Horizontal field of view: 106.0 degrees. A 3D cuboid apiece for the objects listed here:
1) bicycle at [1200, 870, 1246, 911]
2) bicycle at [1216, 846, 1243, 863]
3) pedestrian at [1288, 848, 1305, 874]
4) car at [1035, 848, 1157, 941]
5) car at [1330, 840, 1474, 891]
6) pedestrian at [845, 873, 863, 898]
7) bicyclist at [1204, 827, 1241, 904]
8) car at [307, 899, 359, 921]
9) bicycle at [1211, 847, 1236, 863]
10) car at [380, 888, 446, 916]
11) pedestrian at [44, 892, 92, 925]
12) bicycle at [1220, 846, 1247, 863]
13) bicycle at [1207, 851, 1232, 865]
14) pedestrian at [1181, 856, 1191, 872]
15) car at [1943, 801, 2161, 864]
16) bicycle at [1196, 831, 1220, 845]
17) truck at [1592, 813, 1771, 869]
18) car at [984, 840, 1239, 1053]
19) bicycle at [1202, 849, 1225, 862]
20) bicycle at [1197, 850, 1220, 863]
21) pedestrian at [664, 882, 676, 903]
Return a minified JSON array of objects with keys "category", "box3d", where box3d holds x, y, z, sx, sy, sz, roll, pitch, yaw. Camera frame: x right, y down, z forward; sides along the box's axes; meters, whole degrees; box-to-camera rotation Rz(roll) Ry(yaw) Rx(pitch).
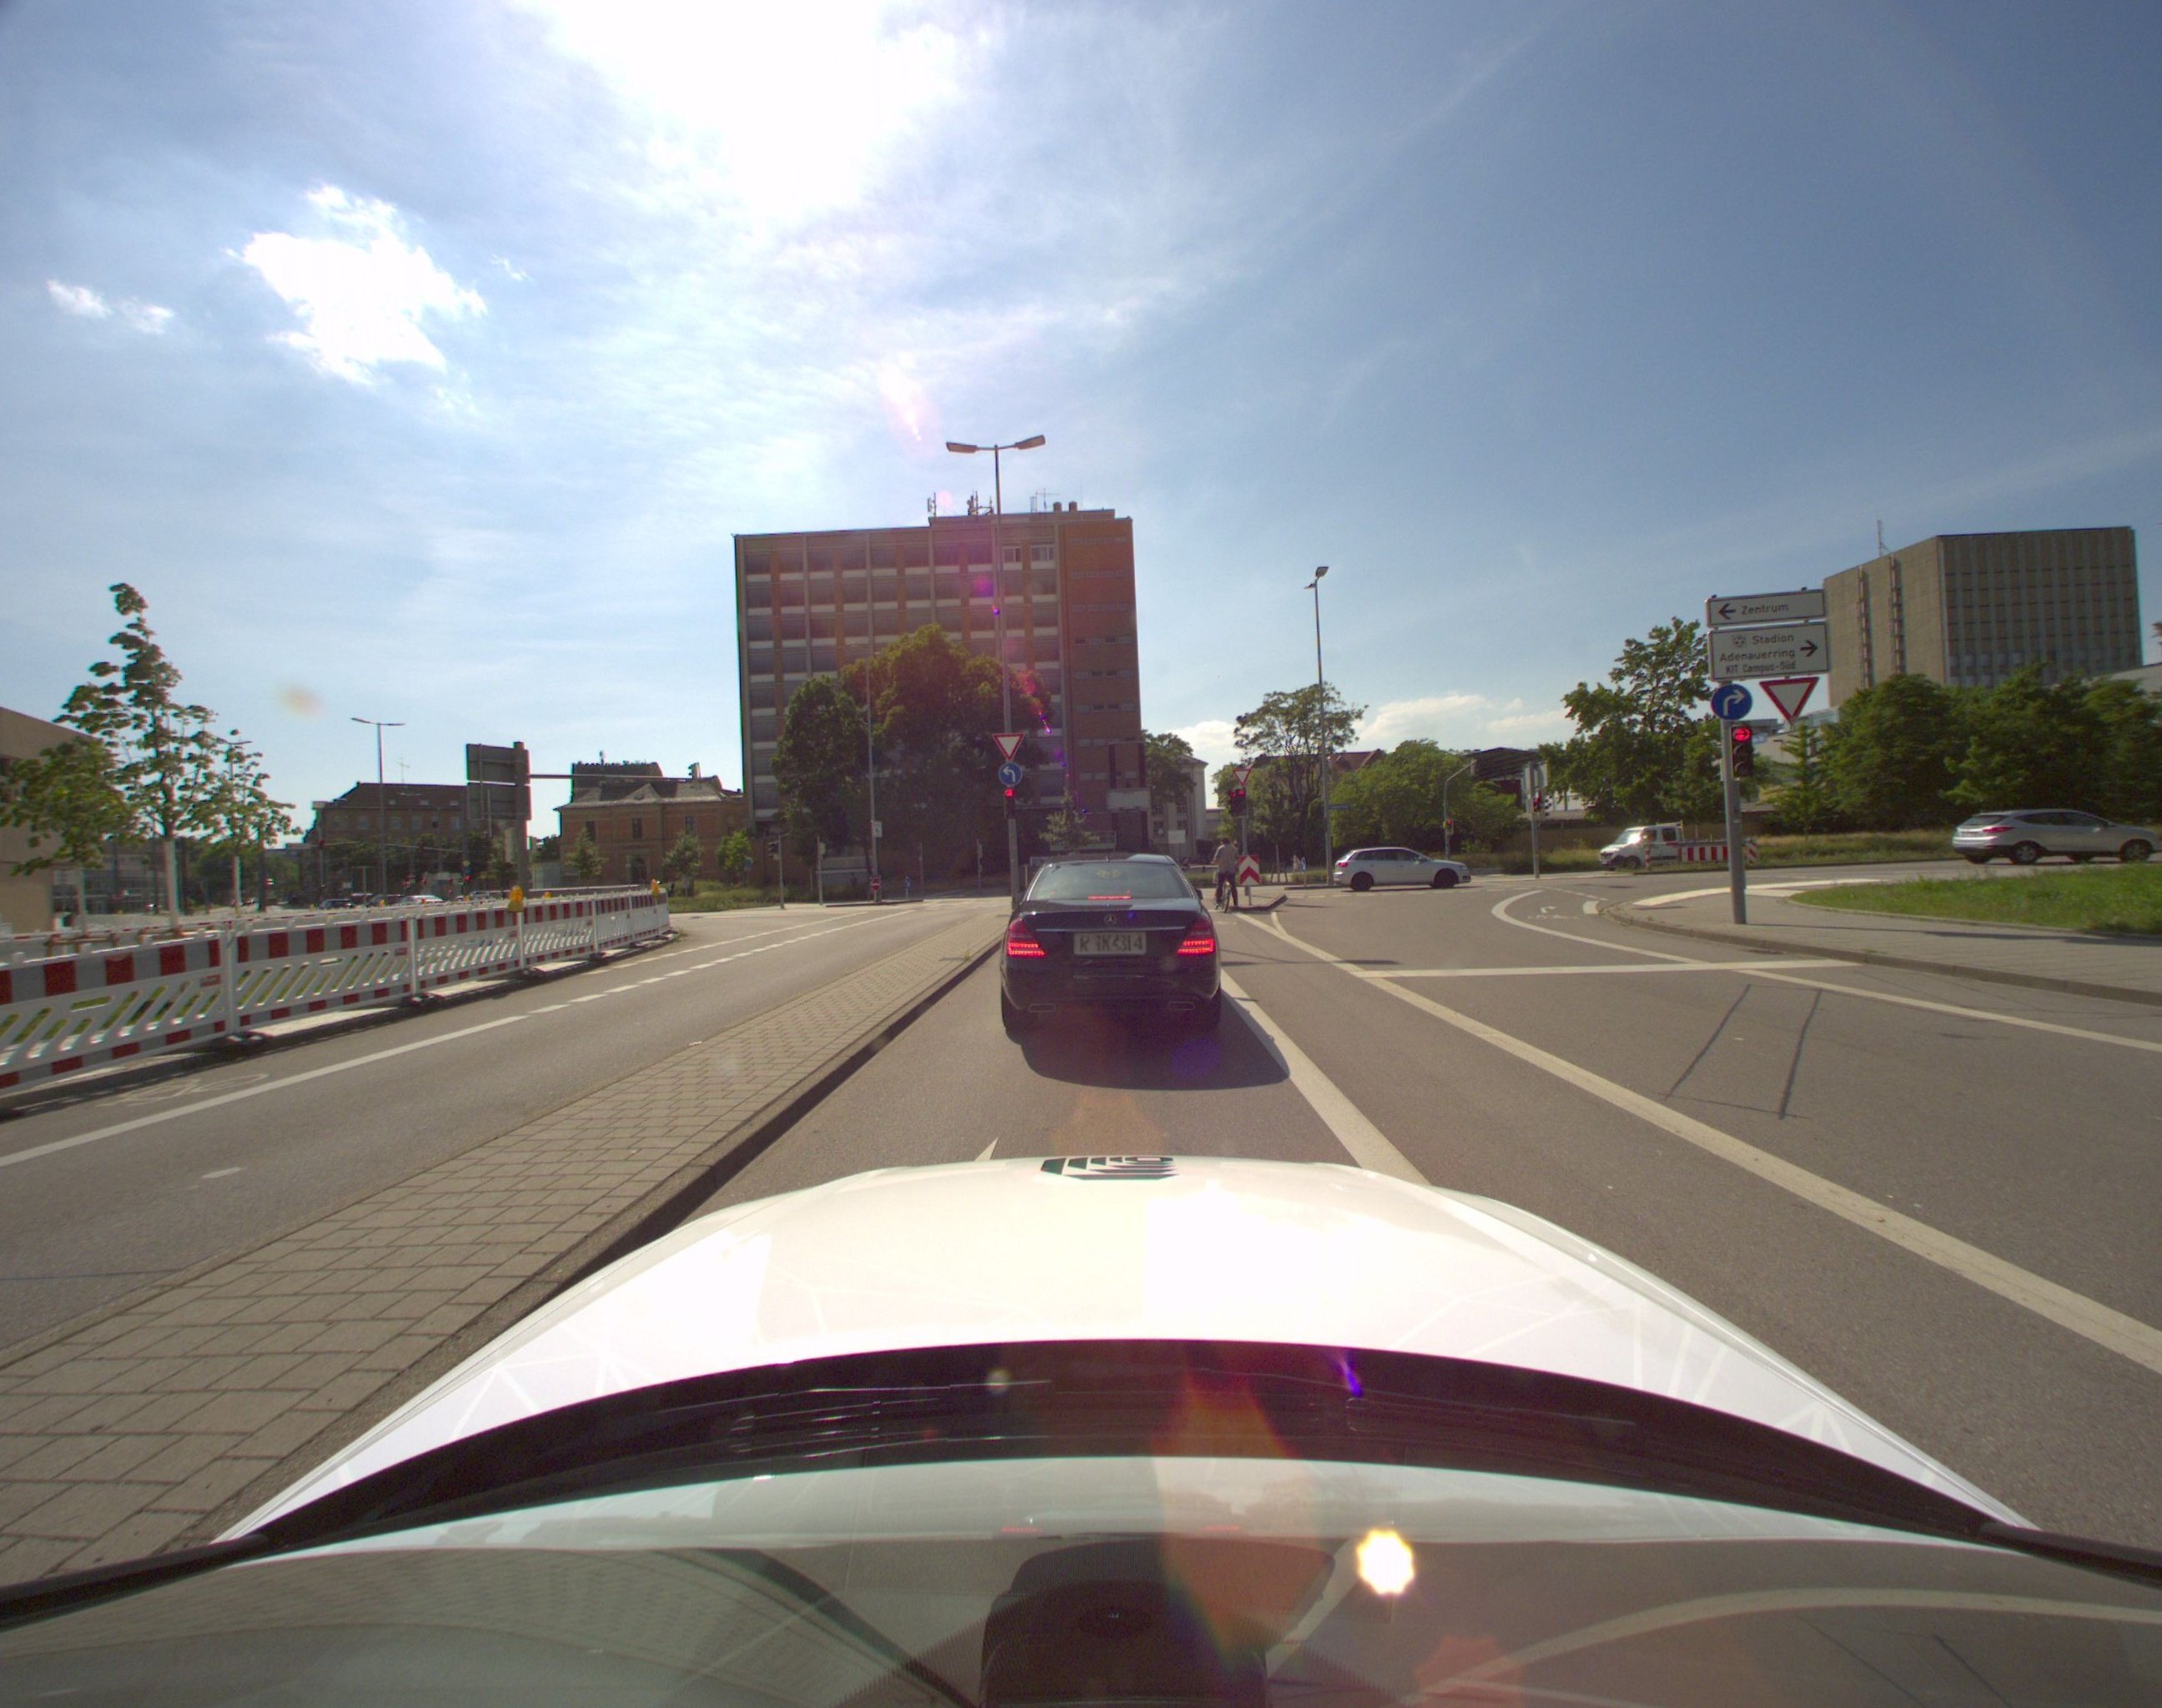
[{"category":"bicycle","box3d":[3.585,0.900,20.664,0.691,0.946,1.955,0,-1,-4]},{"category":"bicycle","box3d":[17.031,0.065,93.566,2.813,1.744,0.842,-3,0,1]},{"category":"pedestrian","box3d":[13.623,0.457,51.522,0.807,1.579,0.693,-3,-1,3]},{"category":"car","box3d":[0.313,0.675,15.304,1.986,1.508,4.001,0,-1,2]},{"category":"car","box3d":[10.434,0.373,26.715,4.131,1.420,1.590,-3,0,12]},{"category":"pedestrian","box3d":[-16.223,2.259,58.159,0.790,1.725,0.878,-3,-1,24]},{"category":"bicyclist","box3d":[3.576,0.289,20.640,0.684,1.878,0.858,-1,-1,-5]},{"category":"car","box3d":[-55.547,4.161,60.450,3.948,1.510,1.811,-3,-1,32]},{"category":"bicycle","box3d":[16.799,0.133,96.118,2.813,1.659,0.842,-3,1,1]},{"category":"car","box3d":[-48.016,3.438,58.538,3.951,1.816,2.011,-3,-1,24]},{"category":"pedestrian","box3d":[-64.747,3.464,52.066,1.508,2.014,1.662,-1,-1,29]},{"category":"bicycle","box3d":[17.098,0.047,91.303,2.813,1.836,0.842,-3,0,1]},{"category":"bicycle","box3d":[16.740,0.517,98.140,2.813,1.537,0.842,-3,0,1]},{"category":"pedestrian","box3d":[8.224,0.793,63.702,0.788,1.214,0.759,-1,-1,8]},{"category":"car","box3d":[29.854,-0.637,25.116,4.174,1.618,1.718,-3,0,13]},{"category":"bicycle","box3d":[15.994,-2.000,102.295,2.813,1.559,0.842,-3,0,1]},{"category":"truck","box3d":[29.995,-0.639,40.872,6.997,2.355,2.415,-3,0,2]},{"category":"car","box3d":[0.202,0.696,8.333,1.853,1.530,4.712,-1,-1,-1]},{"category":"bicycle","box3d":[16.961,0.239,104.336,2.813,1.500,0.842,-3,0,1]},{"category":"bicycle","box3d":[16.633,0.339,105.869,2.812,1.480,0.842,-3,0,2]},{"category":"pedestrian","box3d":[-33.570,3.119,66.492,0.642,1.661,0.654,-1,-1,28]}]
